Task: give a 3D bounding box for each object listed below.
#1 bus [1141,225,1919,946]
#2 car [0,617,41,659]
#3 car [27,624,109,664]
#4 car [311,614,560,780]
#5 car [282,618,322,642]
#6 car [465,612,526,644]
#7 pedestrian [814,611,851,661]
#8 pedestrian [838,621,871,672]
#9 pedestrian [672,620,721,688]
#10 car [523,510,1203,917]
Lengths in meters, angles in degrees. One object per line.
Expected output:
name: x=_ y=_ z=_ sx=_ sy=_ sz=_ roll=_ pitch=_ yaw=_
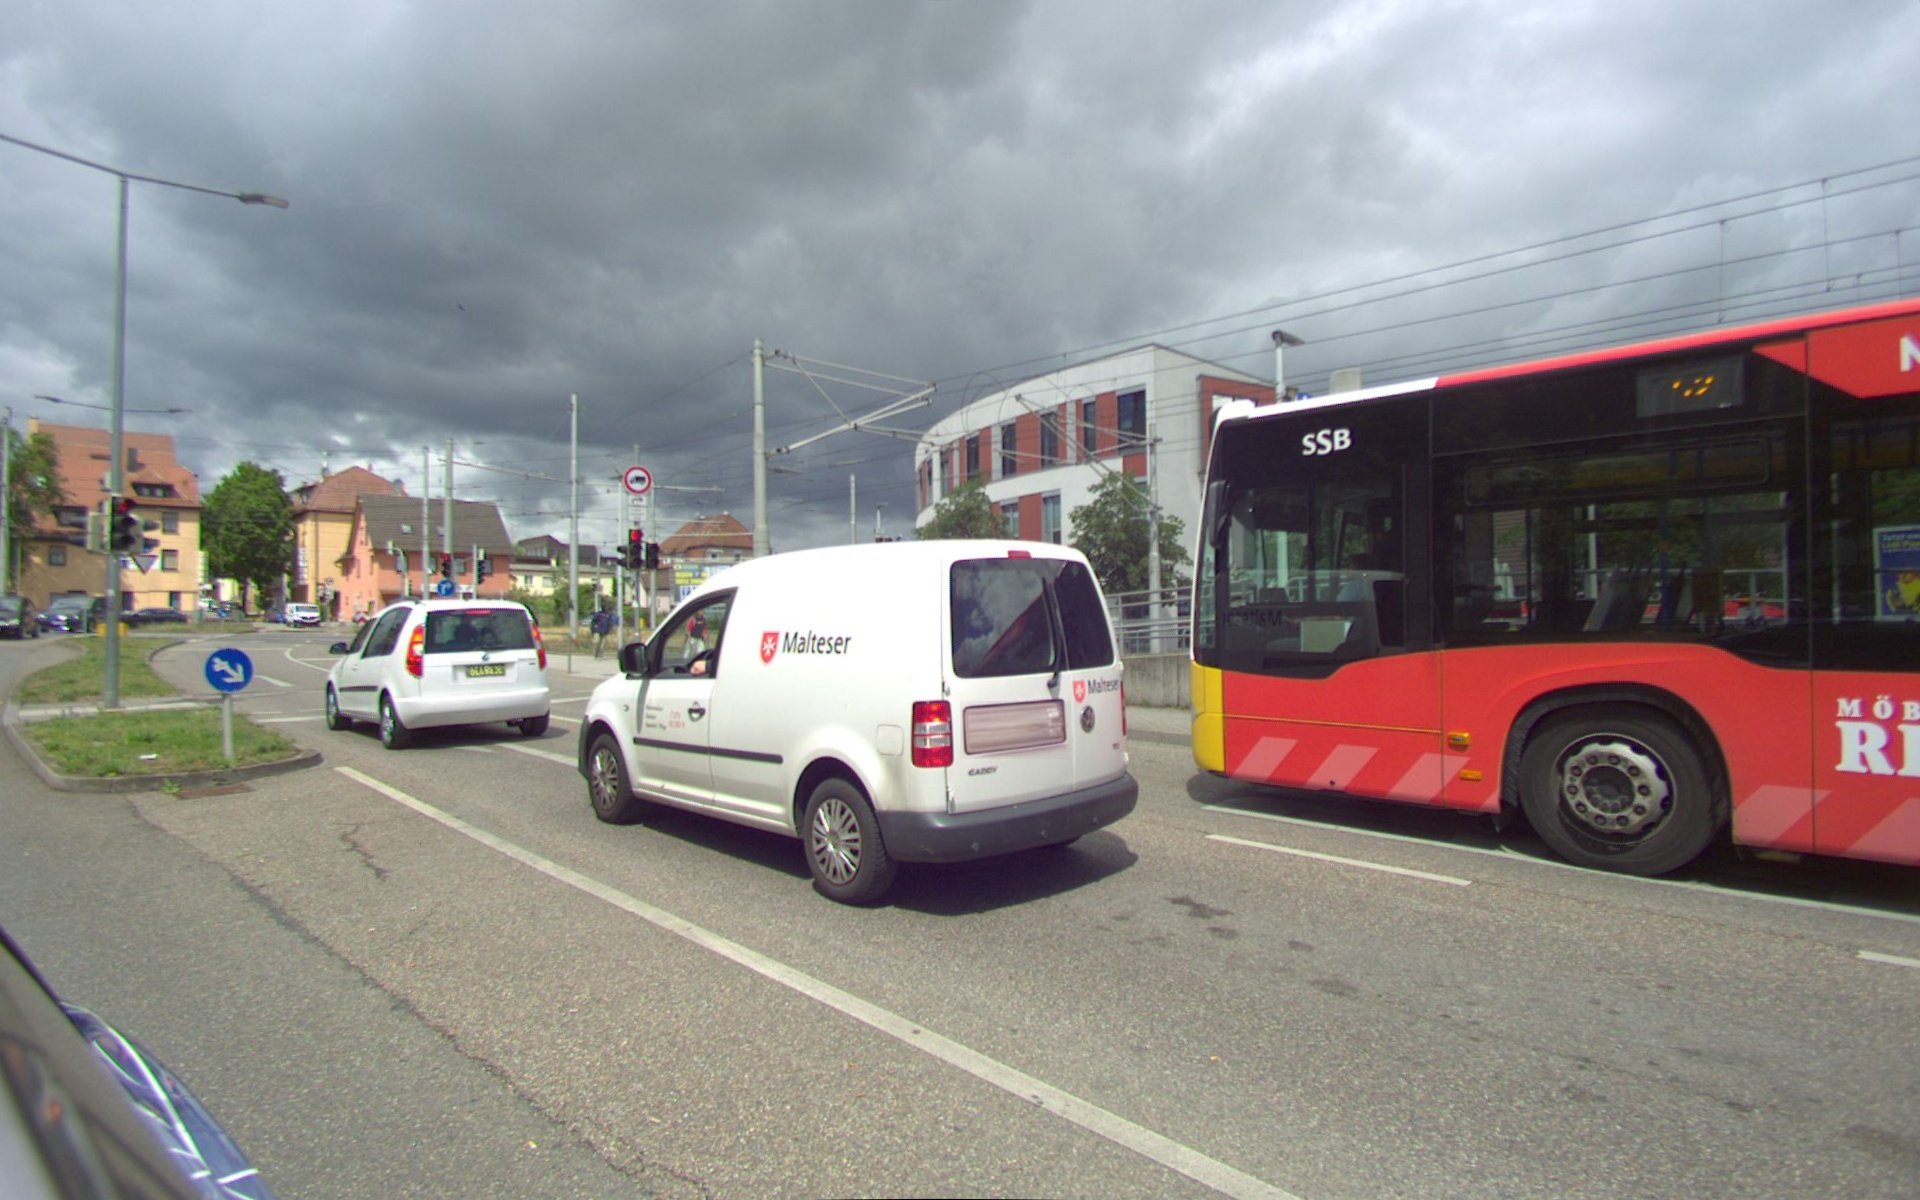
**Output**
bus: x=5.656 y=-0.067 z=4.796 sx=2.694 sy=3.133 sz=9.711 roll=1 pitch=-3 yaw=-44
car: x=-35.809 y=1.447 z=37.610 sx=1.852 sy=1.440 sz=4.010 roll=1 pitch=-3 yaw=-34
car: x=-39.793 y=1.984 z=45.272 sx=1.966 sy=1.662 sz=4.432 roll=0 pitch=-3 yaw=-31
car: x=-6.470 y=1.040 z=12.252 sx=1.679 sy=1.661 sz=4.083 roll=1 pitch=-2 yaw=-42
car: x=-55.352 y=2.502 z=85.116 sx=2.050 sy=1.912 sz=4.667 roll=1 pitch=-2 yaw=-43
car: x=-27.793 y=1.658 z=60.690 sx=1.968 sy=1.836 sz=5.081 roll=0 pitch=-1 yaw=-8
pedestrian: x=-4.299 y=1.212 z=34.145 sx=0.851 sy=1.649 sz=0.922 roll=3 pitch=-3 yaw=-40
pedestrian: x=-3.403 y=1.472 z=32.537 sx=0.822 sy=1.608 sz=0.643 roll=1 pitch=-2 yaw=-40
pedestrian: x=-6.253 y=1.270 z=24.004 sx=0.835 sy=1.552 sz=0.790 roll=-1 pitch=-2 yaw=44
car: x=-0.932 y=0.626 z=6.383 sx=4.507 sy=1.675 sz=1.742 roll=-5 pitch=-6 yaw=44
